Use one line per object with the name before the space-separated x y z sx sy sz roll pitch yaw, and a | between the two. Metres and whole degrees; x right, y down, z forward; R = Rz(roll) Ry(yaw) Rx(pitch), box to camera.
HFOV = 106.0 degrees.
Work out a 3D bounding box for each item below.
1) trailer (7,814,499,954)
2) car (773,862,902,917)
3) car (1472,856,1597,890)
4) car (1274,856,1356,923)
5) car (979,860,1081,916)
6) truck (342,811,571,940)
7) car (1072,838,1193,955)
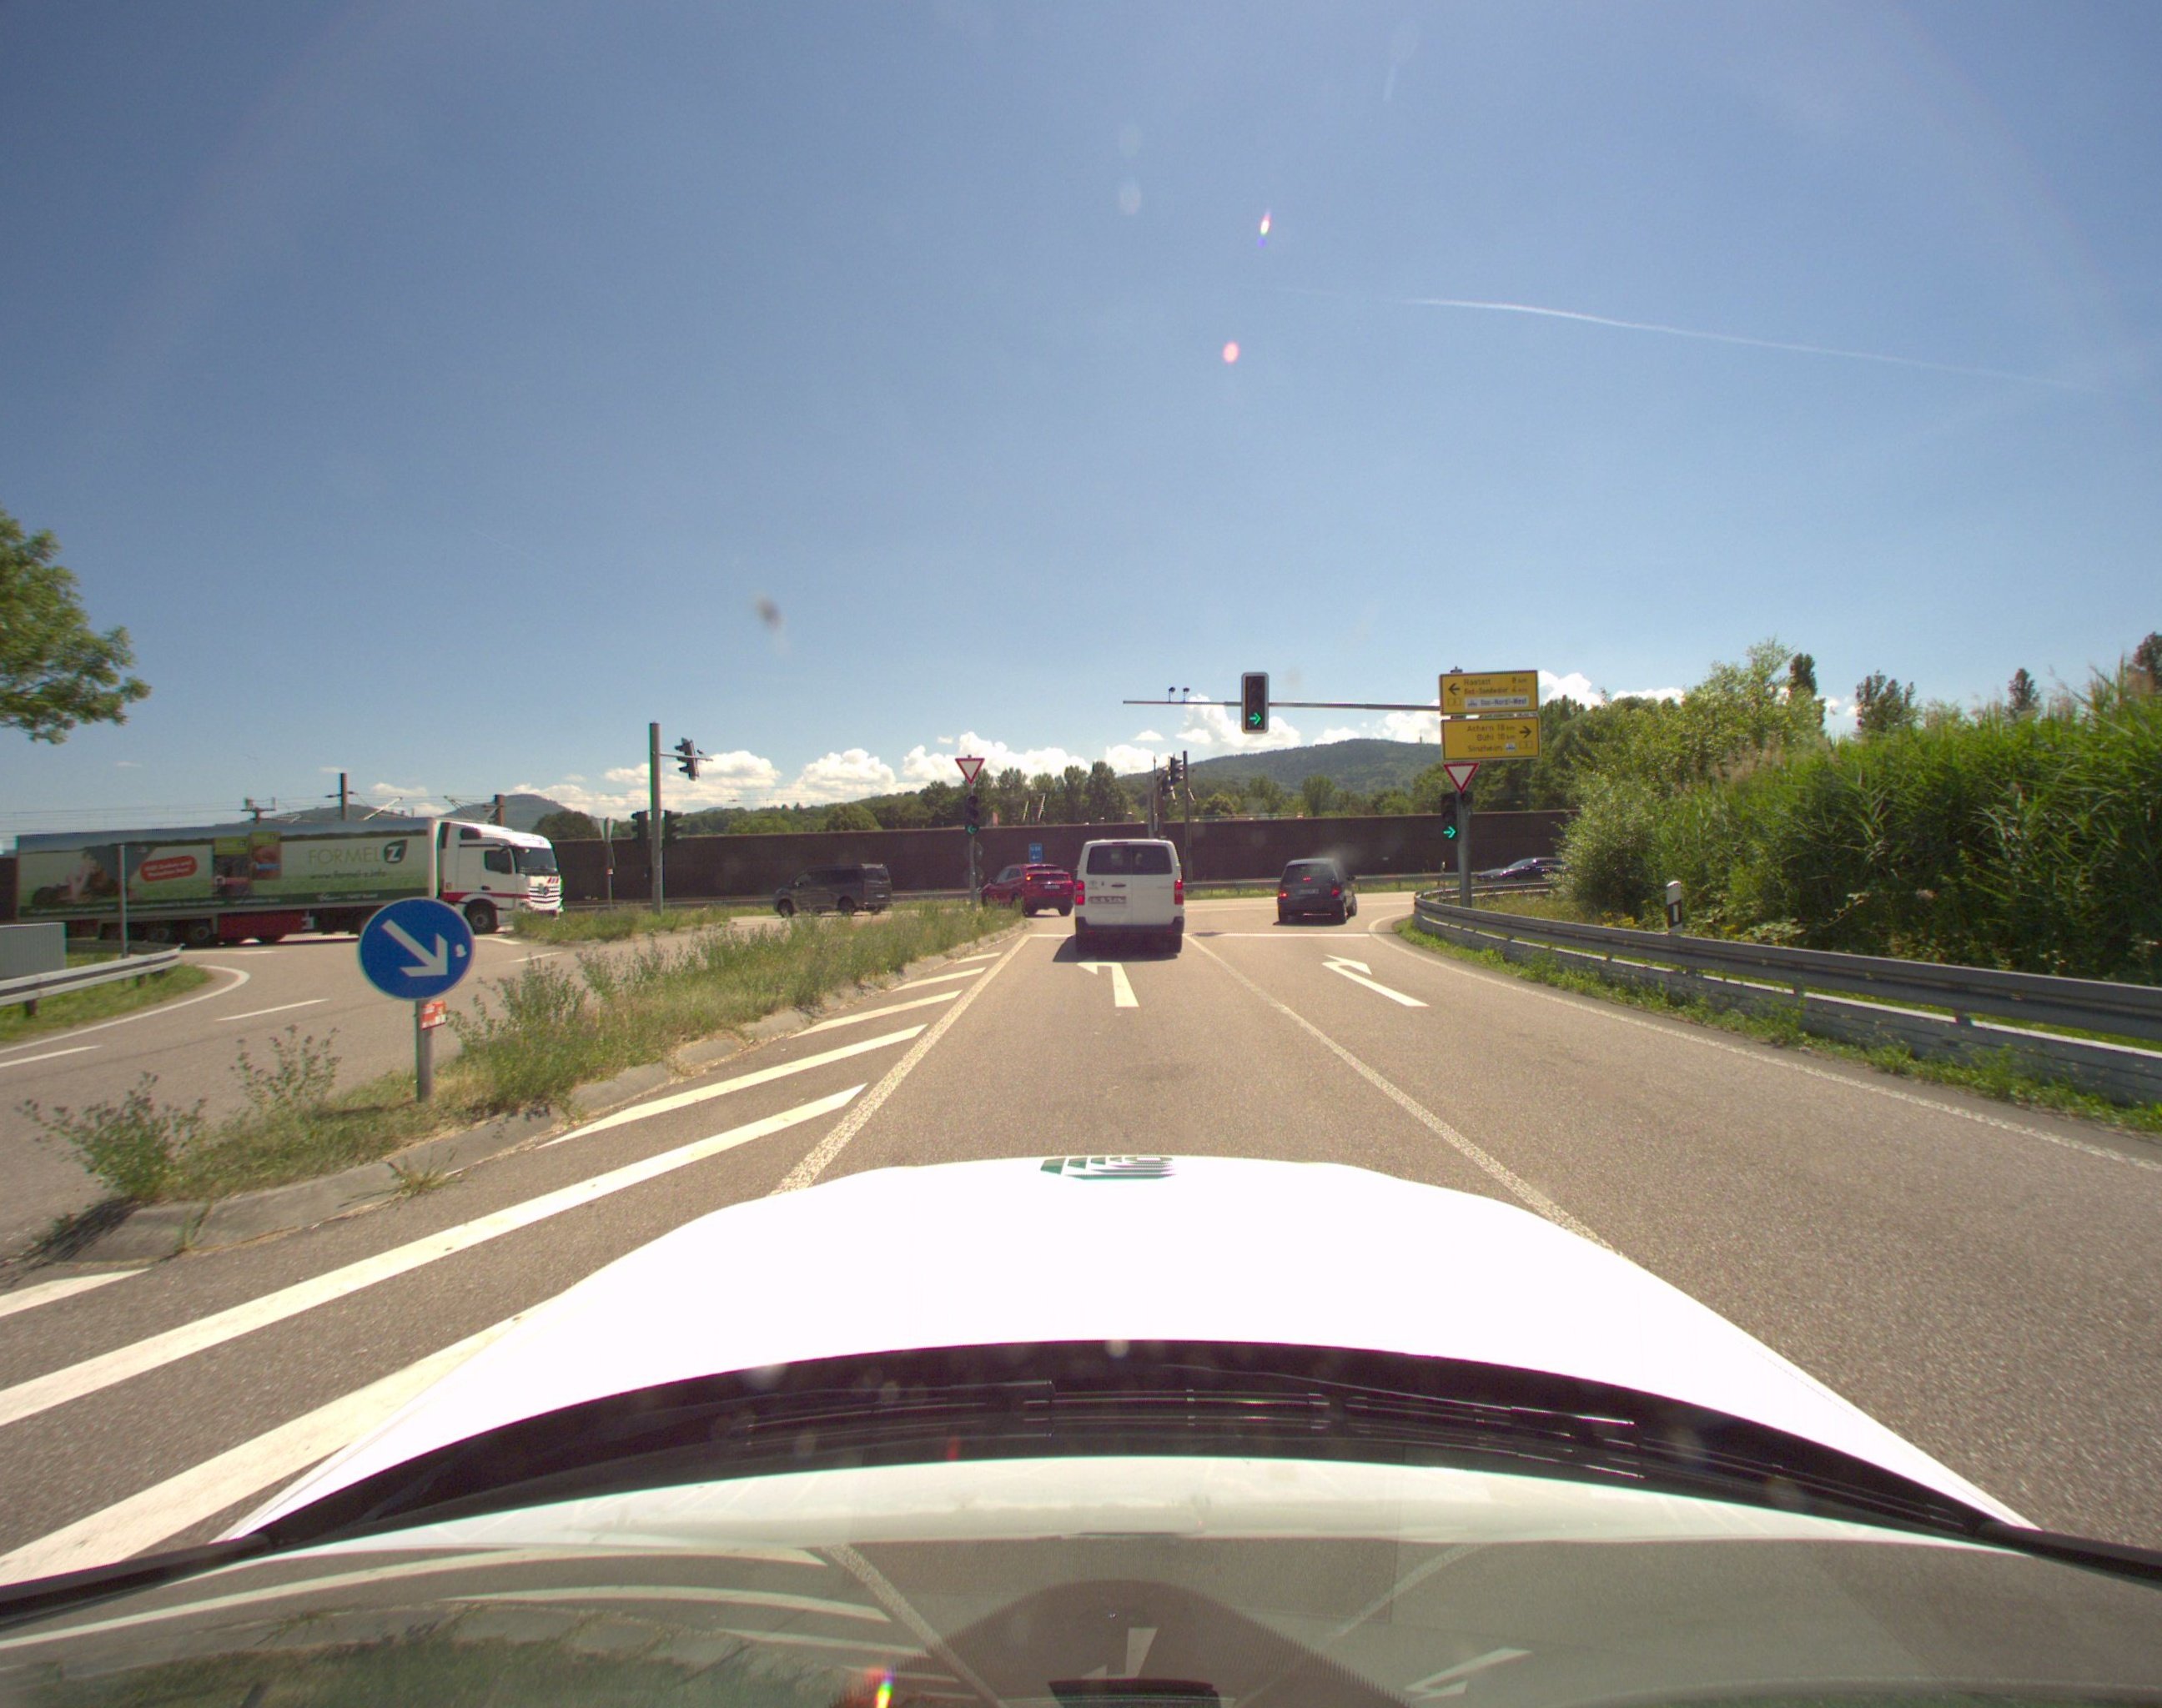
trailer | -28.278 1.024 28.256 14.036 4.045 2.697 -2 -2 -1
car | -9.962 1.453 33.324 4.726 2.022 2.024 -3 -2 21
car | 20.609 0.887 37.147 4.619 1.364 1.912 -2 -2 -1
car | 6.231 0.881 21.457 1.623 1.597 3.581 -1 -1 23
car | -1.760 1.125 26.534 1.915 1.650 4.106 -1 -3 -25
truck | -21.568 0.743 28.373 5.789 4.045 2.697 -2 -2 -1
car | 0.808 0.712 15.601 1.940 1.881 4.878 0 -1 -1
